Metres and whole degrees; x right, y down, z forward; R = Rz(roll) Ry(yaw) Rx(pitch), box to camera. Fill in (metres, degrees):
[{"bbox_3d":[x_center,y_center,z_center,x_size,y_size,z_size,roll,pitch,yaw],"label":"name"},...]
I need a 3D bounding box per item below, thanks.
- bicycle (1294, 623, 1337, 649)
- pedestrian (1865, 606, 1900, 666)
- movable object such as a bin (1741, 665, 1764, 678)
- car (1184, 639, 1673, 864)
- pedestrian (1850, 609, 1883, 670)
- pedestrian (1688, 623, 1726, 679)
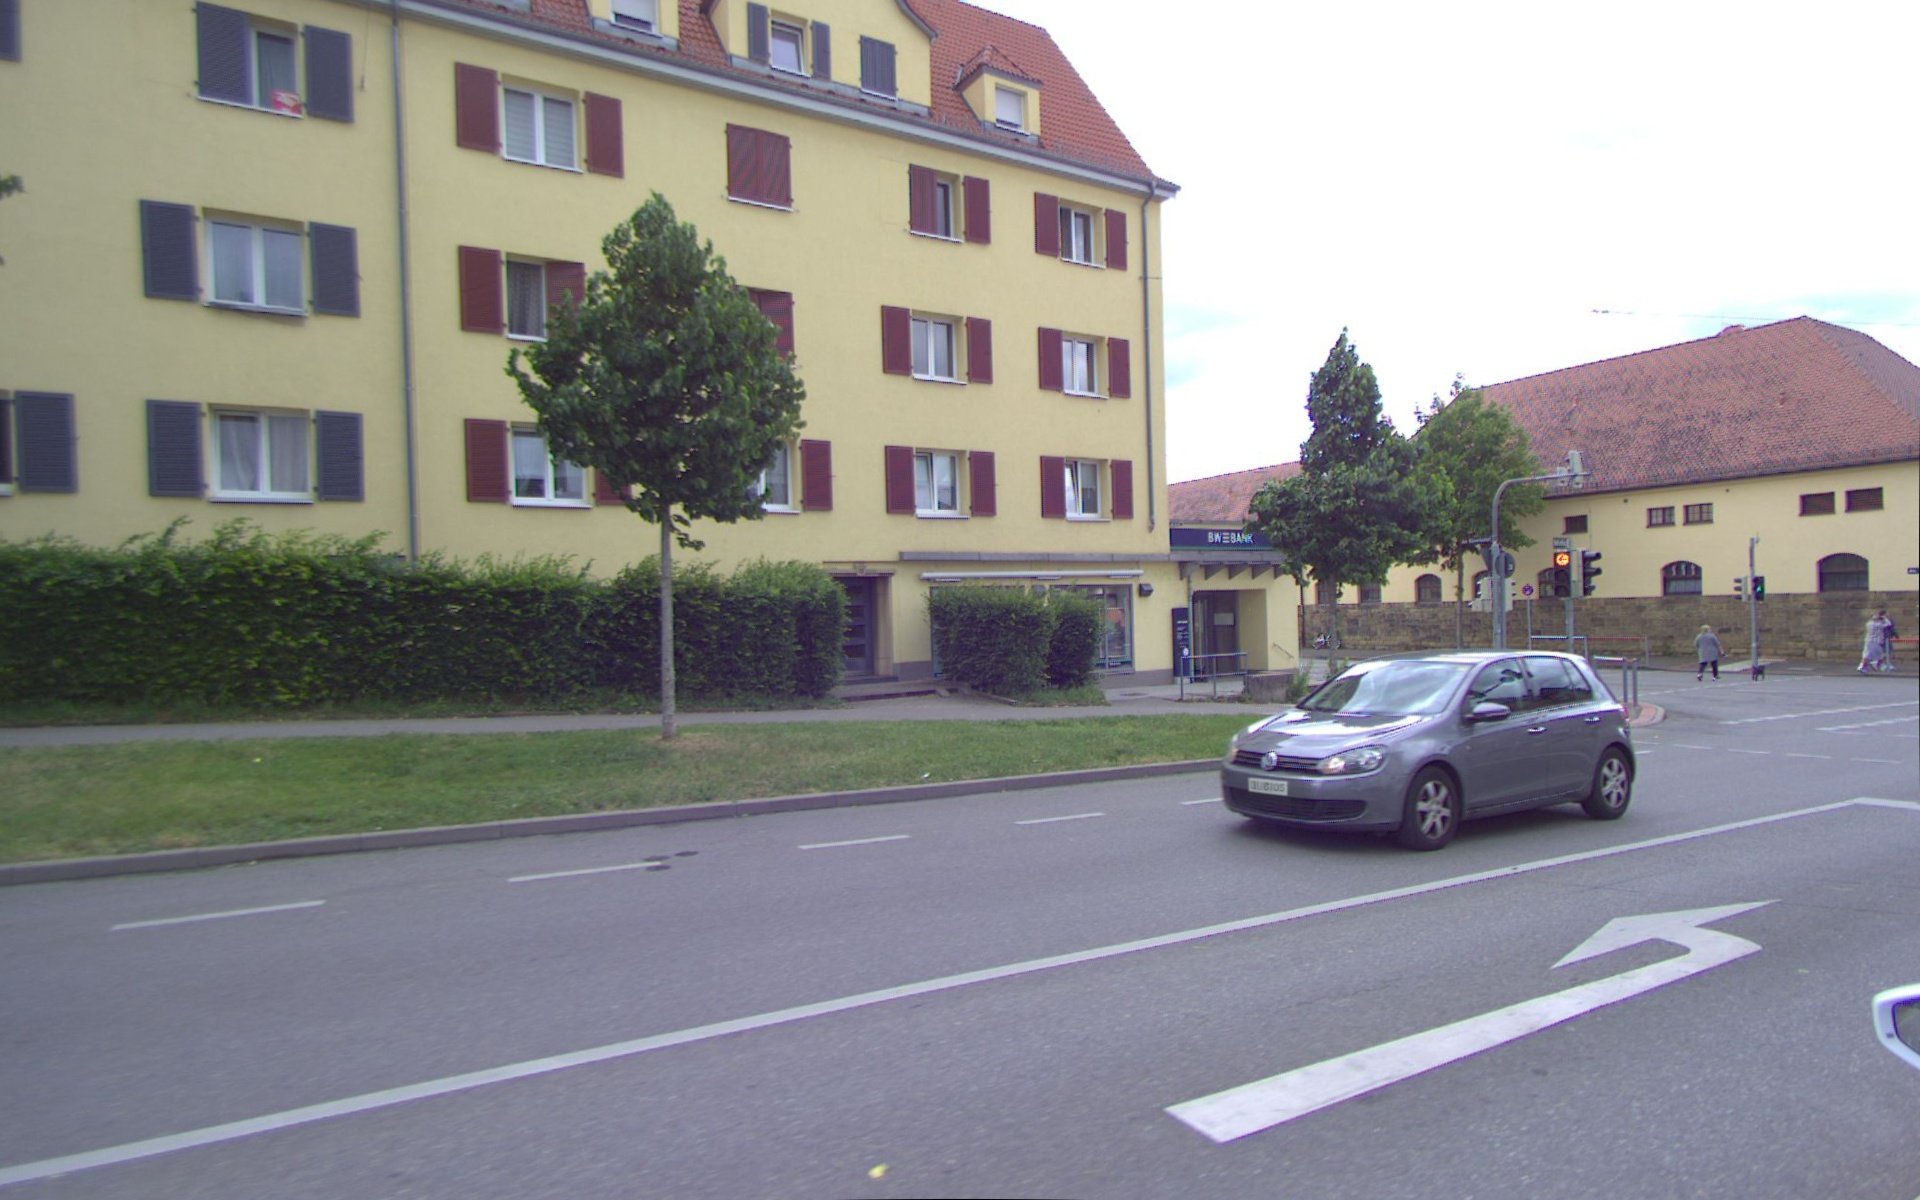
[{"bbox_3d":[18.330,1.850,51.819,0.509,1.283,2.303,0,-1,-32],"label":"bicycle"},{"bbox_3d":[28.108,1.077,30.603,0.832,1.800,0.561,0,-1,-31],"label":"pedestrian"},{"bbox_3d":[22.784,2.046,28.888,0.573,0.352,0.305,0,-1,-25],"label":"movable object such as a bin"},{"bbox_3d":[4.153,1.112,8.745,4.255,1.492,1.748,1,-2,-30],"label":"car"},{"bbox_3d":[27.293,1.174,30.253,0.709,1.800,0.561,0,-1,-31],"label":"pedestrian"},{"bbox_3d":[21.655,1.477,29.109,0.831,1.587,0.562,0,-1,-25],"label":"pedestrian"}]
